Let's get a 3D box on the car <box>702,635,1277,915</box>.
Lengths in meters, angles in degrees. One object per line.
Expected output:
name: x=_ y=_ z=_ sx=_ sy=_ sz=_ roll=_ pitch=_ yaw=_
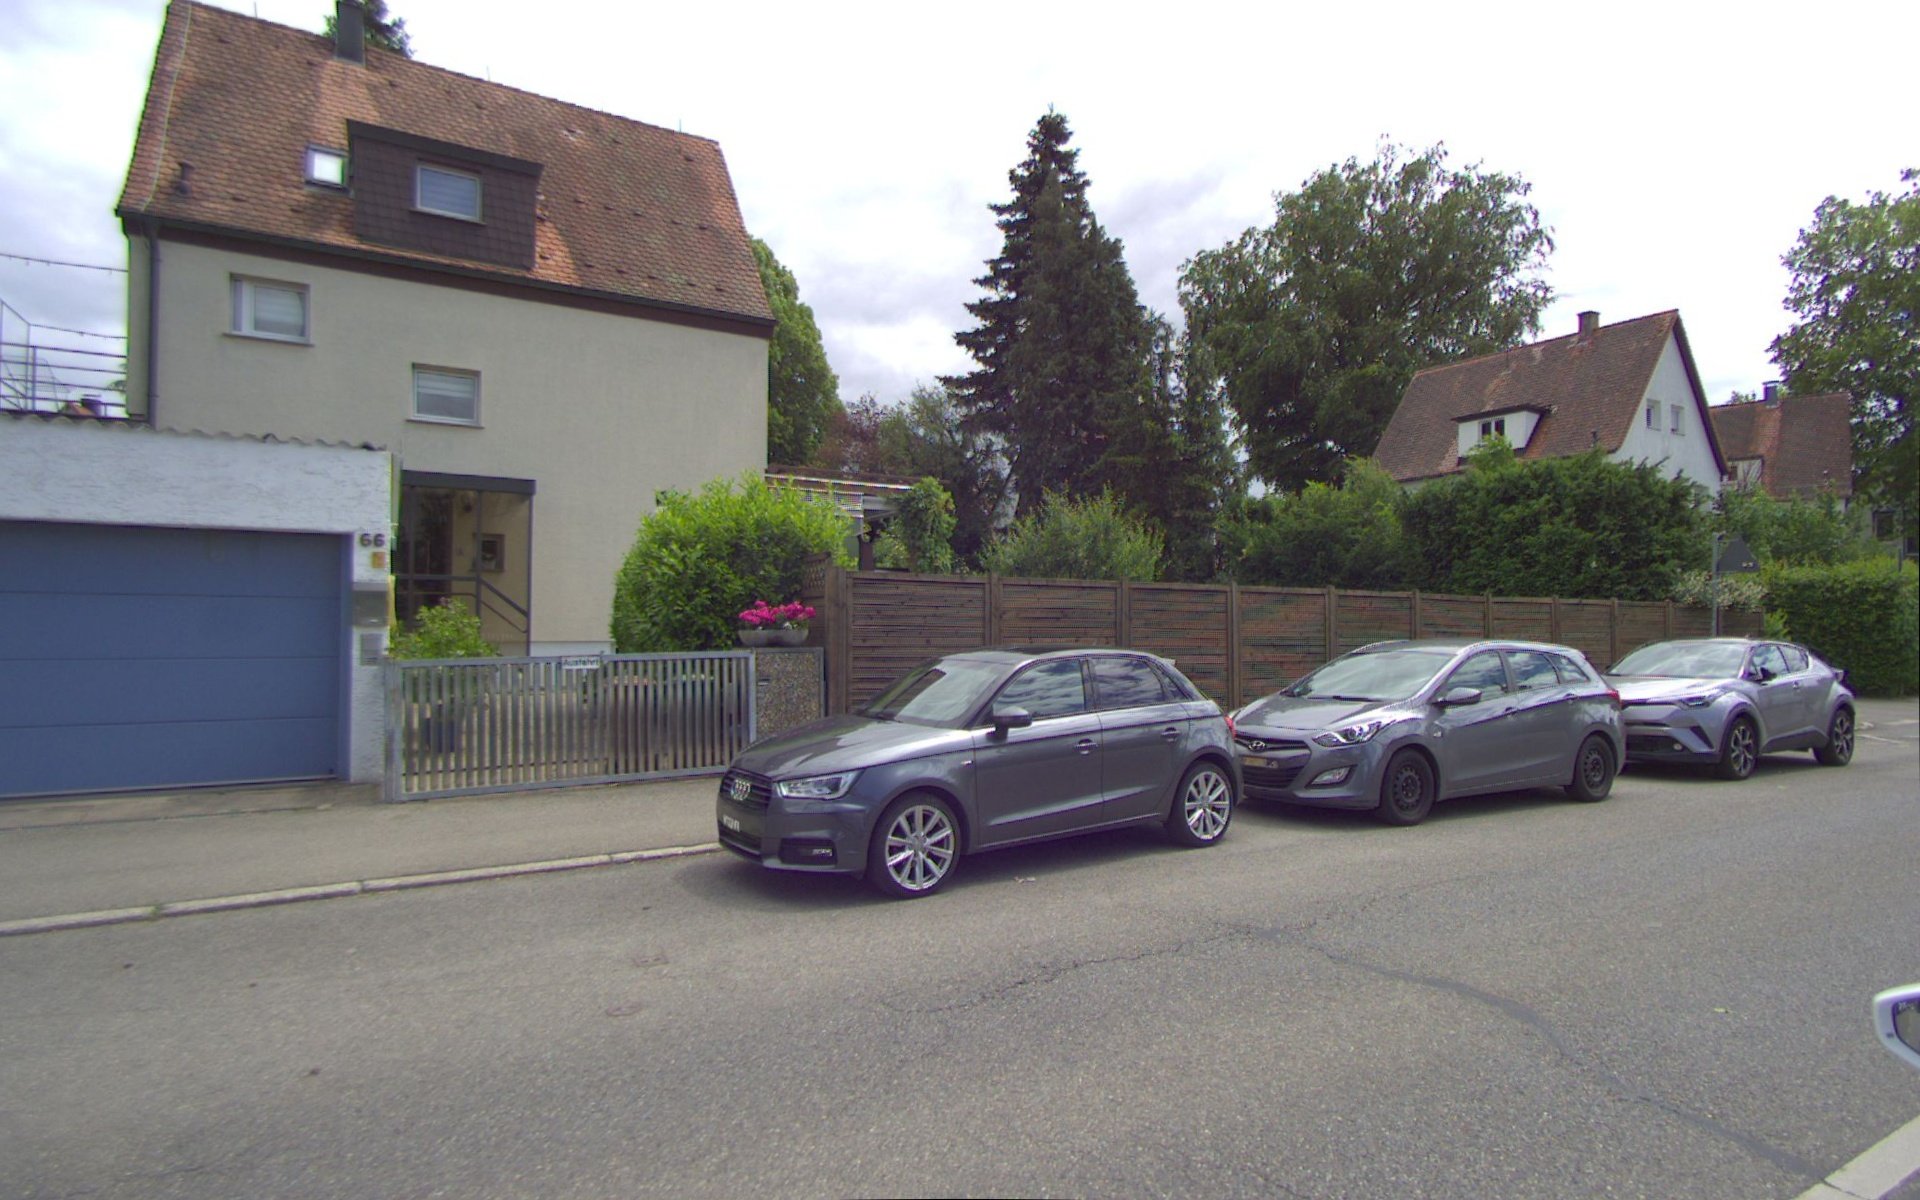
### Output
car: x=0.320 y=0.995 z=7.129 sx=3.865 sy=1.446 sz=1.641 roll=1 pitch=-2 yaw=-34

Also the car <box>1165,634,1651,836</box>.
car: x=4.232 y=1.069 z=9.348 sx=4.434 sy=1.478 sz=1.859 roll=1 pitch=-2 yaw=-29

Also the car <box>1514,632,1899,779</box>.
car: x=9.124 y=1.155 z=12.237 sx=4.588 sy=1.499 sz=1.986 roll=1 pitch=-3 yaw=-28
